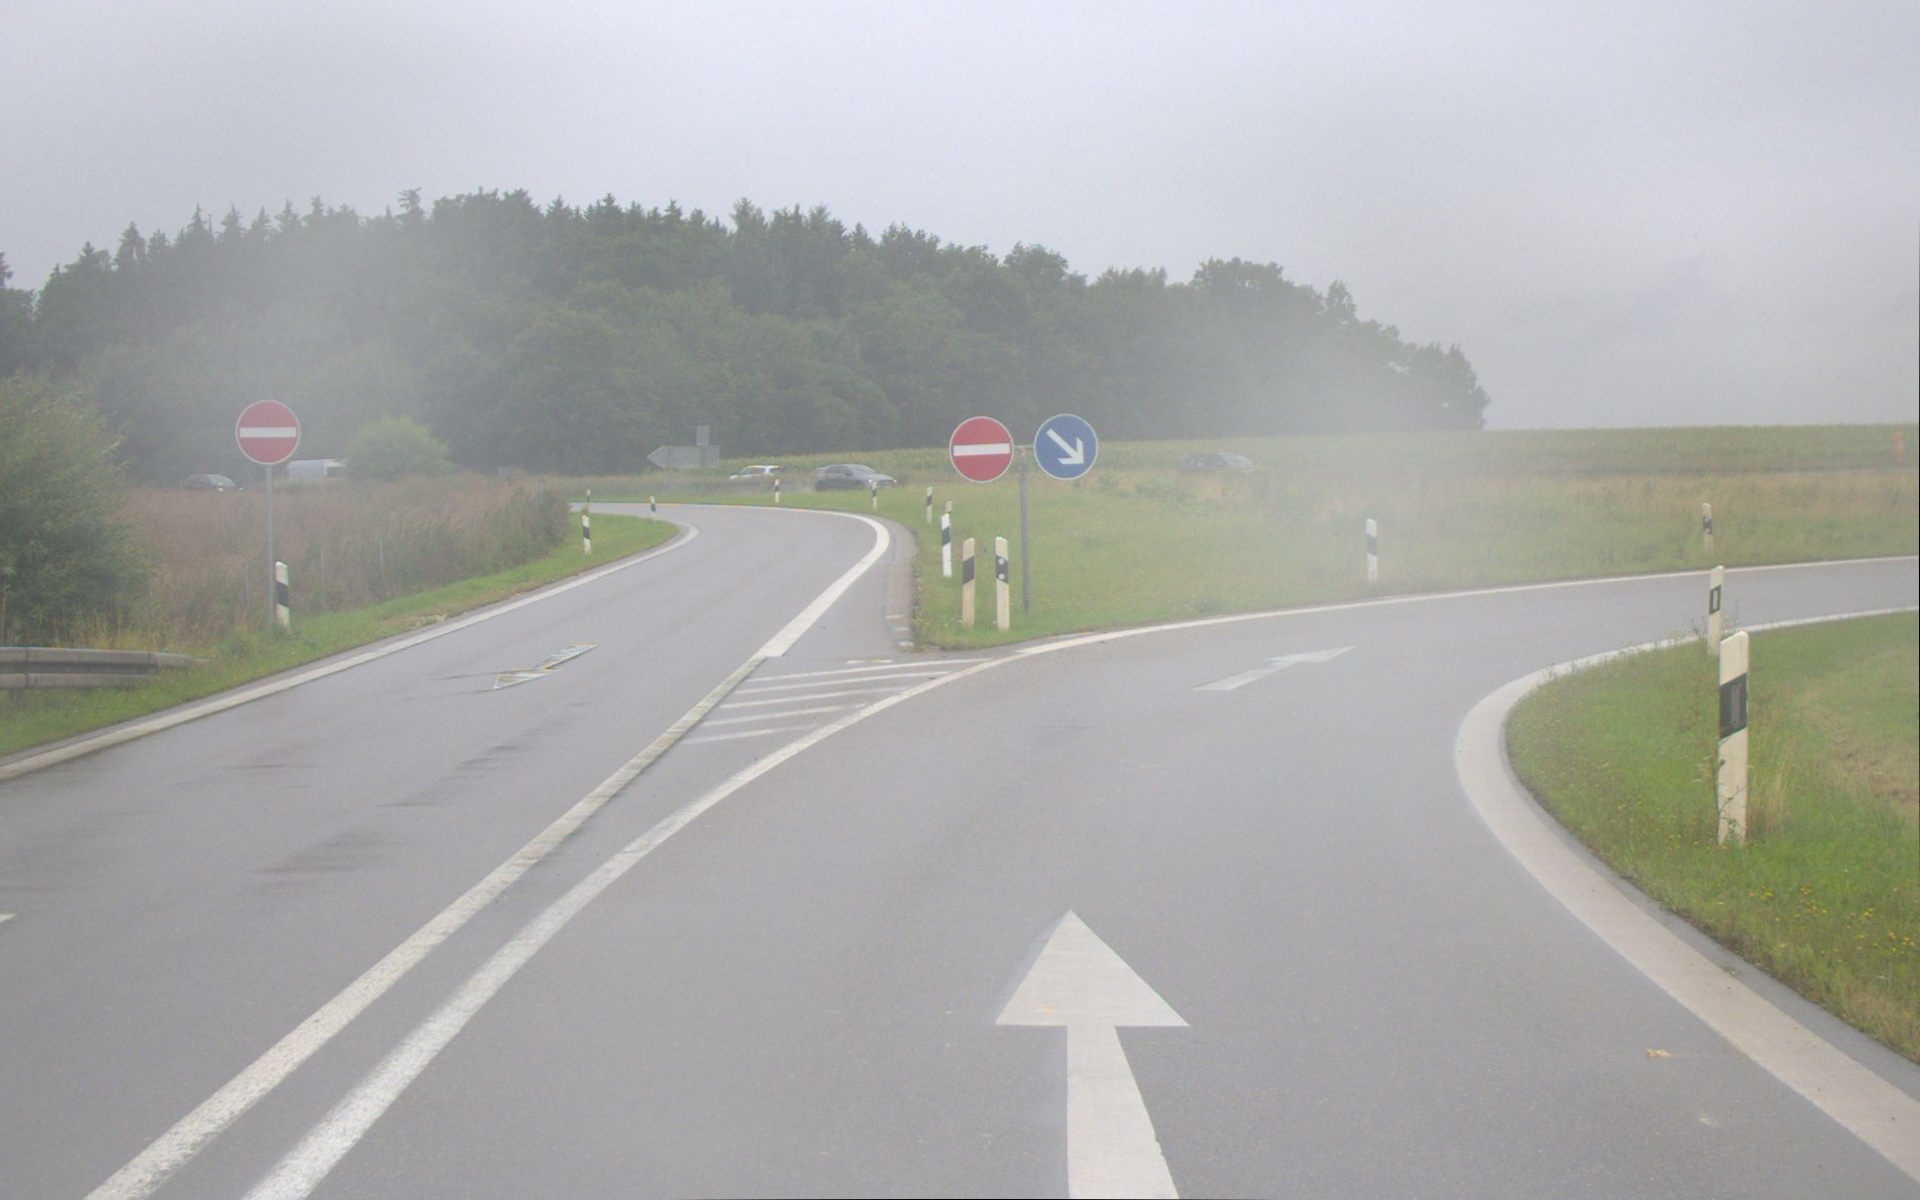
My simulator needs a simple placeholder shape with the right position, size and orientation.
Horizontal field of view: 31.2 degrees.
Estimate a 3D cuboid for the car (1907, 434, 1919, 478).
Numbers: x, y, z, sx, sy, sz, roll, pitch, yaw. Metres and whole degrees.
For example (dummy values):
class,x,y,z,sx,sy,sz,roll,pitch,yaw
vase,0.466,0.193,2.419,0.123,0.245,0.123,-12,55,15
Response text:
class,x,y,z,sx,sy,sz,roll,pitch,yaw
car,39.746,-5.736,136.111,1.731,1.730,3.998,-4,4,-43
